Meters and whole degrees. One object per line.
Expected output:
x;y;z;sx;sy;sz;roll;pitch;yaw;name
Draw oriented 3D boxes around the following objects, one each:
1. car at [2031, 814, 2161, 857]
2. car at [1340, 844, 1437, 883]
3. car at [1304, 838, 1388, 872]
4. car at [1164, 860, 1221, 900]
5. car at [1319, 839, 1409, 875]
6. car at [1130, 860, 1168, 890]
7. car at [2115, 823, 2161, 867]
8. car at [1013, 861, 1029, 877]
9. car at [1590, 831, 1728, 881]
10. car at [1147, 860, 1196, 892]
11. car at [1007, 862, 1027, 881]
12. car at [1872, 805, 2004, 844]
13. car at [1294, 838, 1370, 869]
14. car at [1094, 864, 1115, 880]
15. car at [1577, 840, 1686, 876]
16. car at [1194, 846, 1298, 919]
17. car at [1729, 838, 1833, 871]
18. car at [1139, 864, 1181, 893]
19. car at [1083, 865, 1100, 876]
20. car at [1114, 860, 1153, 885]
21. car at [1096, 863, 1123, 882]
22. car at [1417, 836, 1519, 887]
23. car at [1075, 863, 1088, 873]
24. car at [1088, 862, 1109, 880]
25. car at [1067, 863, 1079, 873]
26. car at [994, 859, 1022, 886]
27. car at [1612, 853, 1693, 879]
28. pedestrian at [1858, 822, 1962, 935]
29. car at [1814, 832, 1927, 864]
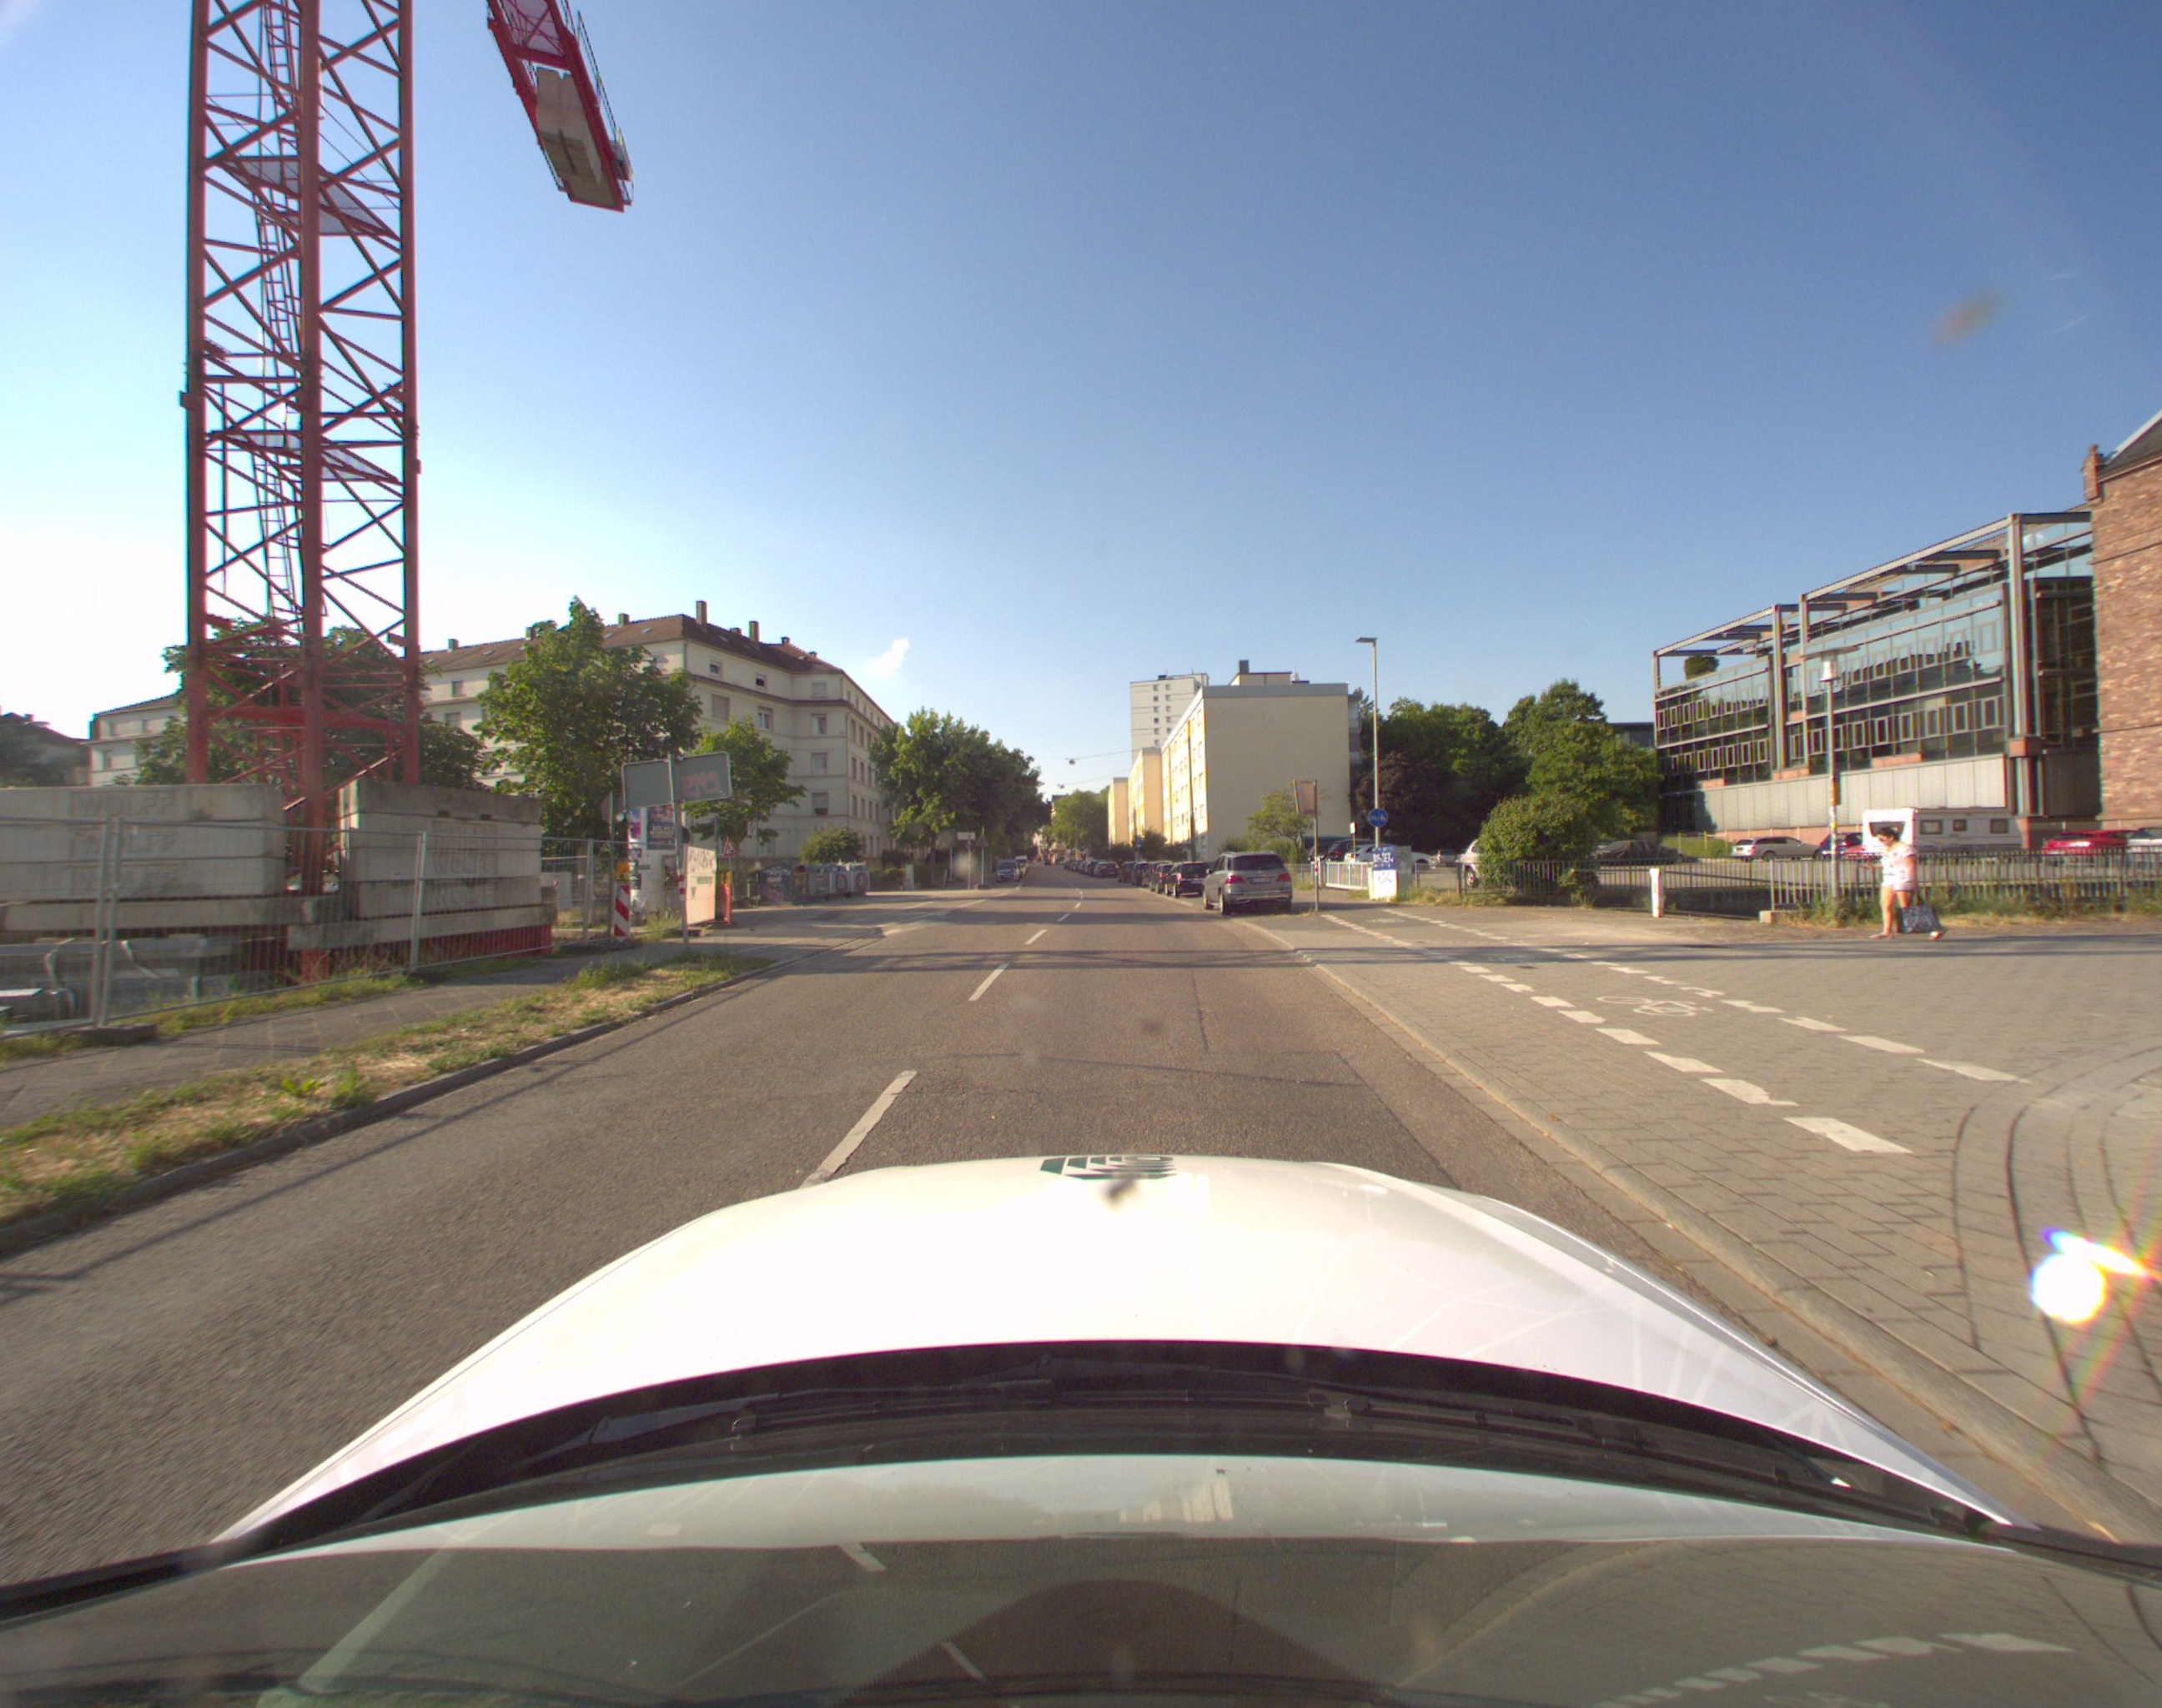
39.323;-0.673;31.065;4.059;1.503;1.830;1;-2;-1;car
14.814;0.486;39.371;3.978;1.794;1.997;1;-2;-3;car
14.568;0.082;44.855;3.976;1.794;1.998;1;-2;-2;car
4.691;1.121;34.902;1.737;1.541;4.437;-3;-2;-1;car
14.528;0.176;41.929;3.978;1.794;1.997;1;-2;-3;car
4.220;1.322;51.158;1.896;1.779;4.579;1;-2;-1;car
39.289;-0.292;28.463;4.059;1.503;1.830;1;-2;-1;car
-9.352;2.343;126.829;2.353;2.446;6.157;1;-2;-3;car
22.191;0.110;31.389;3.978;1.794;1.997;1;-2;-3;car
4.477;1.110;40.858;1.896;1.530;4.808;1;-2;-1;car
-6.188;1.673;78.553;1.870;1.759;4.680;1;-2;-5;car
37.719;-1.275;35.908;4.062;1.503;1.829;1;-2;-3;car
15.253;-0.030;49.654;3.978;1.794;1.997;1;-2;-3;car
2.362;1.847;81.824;1.768;1.508;3.994;1;-2;-3;car
28.062;0.208;41.601;4.264;1.725;1.997;1;-2;-3;car
4.718;0.820;24.033;1.916;1.779;4.808;-5;-2;-1;car
39.255;0.037;45.742;4.264;1.725;1.997;1;-2;-3;car
4.404;1.331;45.873;1.647;1.436;3.953;-1;1;-5;car
1.397;2.221;109.438;1.870;1.443;3.992;1;-2;-5;car
3.707;1.325;58.076;1.883;1.561;4.937;-6;-1;-5;car
2.604;1.720;75.921;1.796;1.507;4.612;7;-2;-5;car
13.485;0.303;28.623;1.648;1.662;3.997;1;-2;-1;car
0.037;2.149;125.896;1.832;1.501;4.168;1;-2;-2;car
1.820;1.852;86.916;1.768;1.677;4.640;-5;-1;-4;car
-1.465;2.544;148.219;1.895;1.651;4.334;1;-1;-6;car
-5.639;1.461;63.186;1.837;1.897;4.482;3;-2;-2;car
39.680;0.826;56.610;4.264;1.725;1.997;1;-2;-3;car
12.219;0.362;12.030;0.712;1.611;0.788;1;-2;-5;pedestrian
39.793;-0.280;41.098;4.062;1.503;1.829;1;-2;-3;car
